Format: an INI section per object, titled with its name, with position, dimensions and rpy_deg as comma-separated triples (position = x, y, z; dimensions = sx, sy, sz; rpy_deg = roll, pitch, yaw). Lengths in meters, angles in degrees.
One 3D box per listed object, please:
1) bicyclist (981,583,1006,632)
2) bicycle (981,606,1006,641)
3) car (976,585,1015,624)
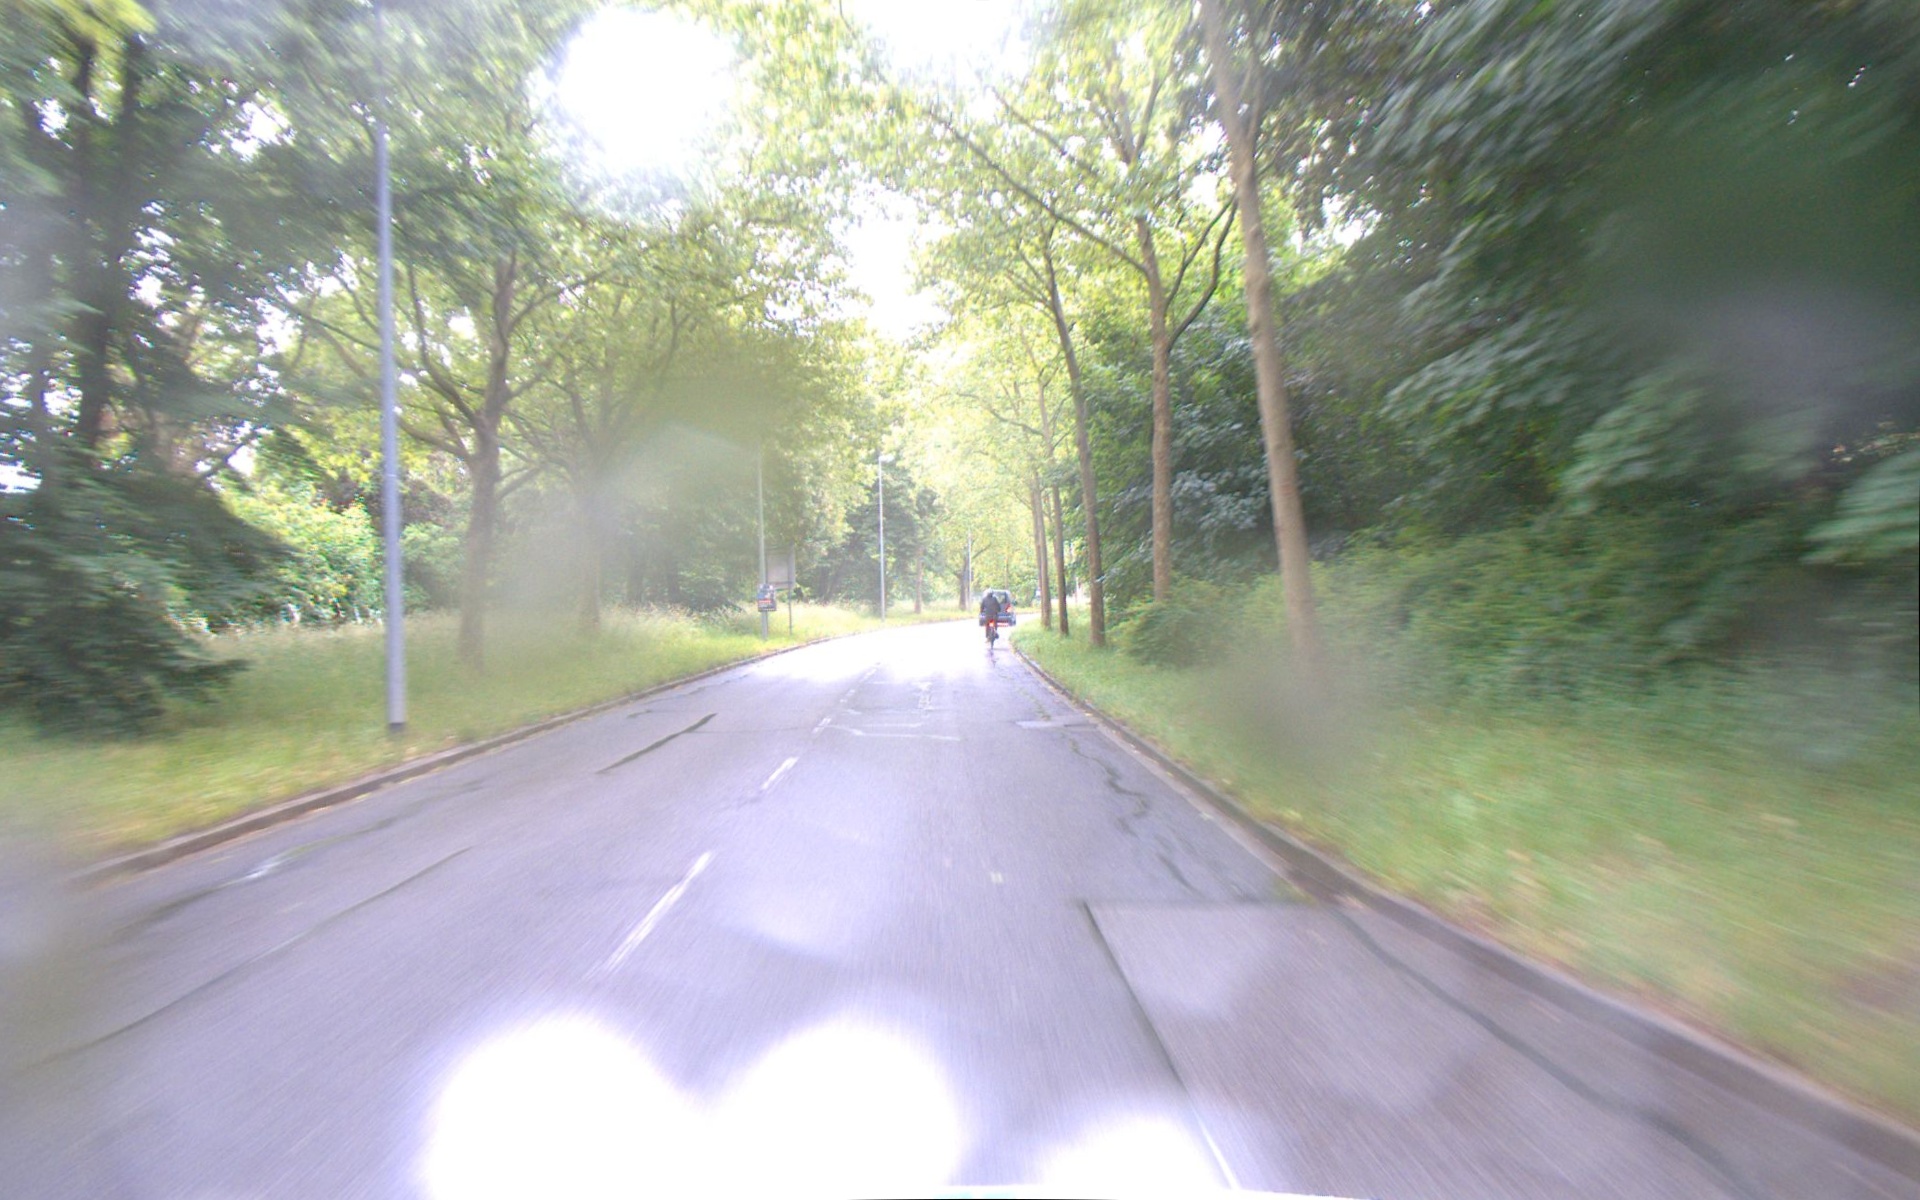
[bicyclist]
position = 1.006, 0.213, 49.340
dimensions = 0.714, 1.435, 0.973
rpy_deg = 0, 0, 2
[bicycle]
position = 1.013, 0.691, 49.577
dimensions = 0.714, 0.991, 2.174
rpy_deg = 0, 0, 2
[car]
position = 1.861, 0.234, 85.433
dimensions = 1.944, 1.959, 4.001
rpy_deg = -1, 0, 2
